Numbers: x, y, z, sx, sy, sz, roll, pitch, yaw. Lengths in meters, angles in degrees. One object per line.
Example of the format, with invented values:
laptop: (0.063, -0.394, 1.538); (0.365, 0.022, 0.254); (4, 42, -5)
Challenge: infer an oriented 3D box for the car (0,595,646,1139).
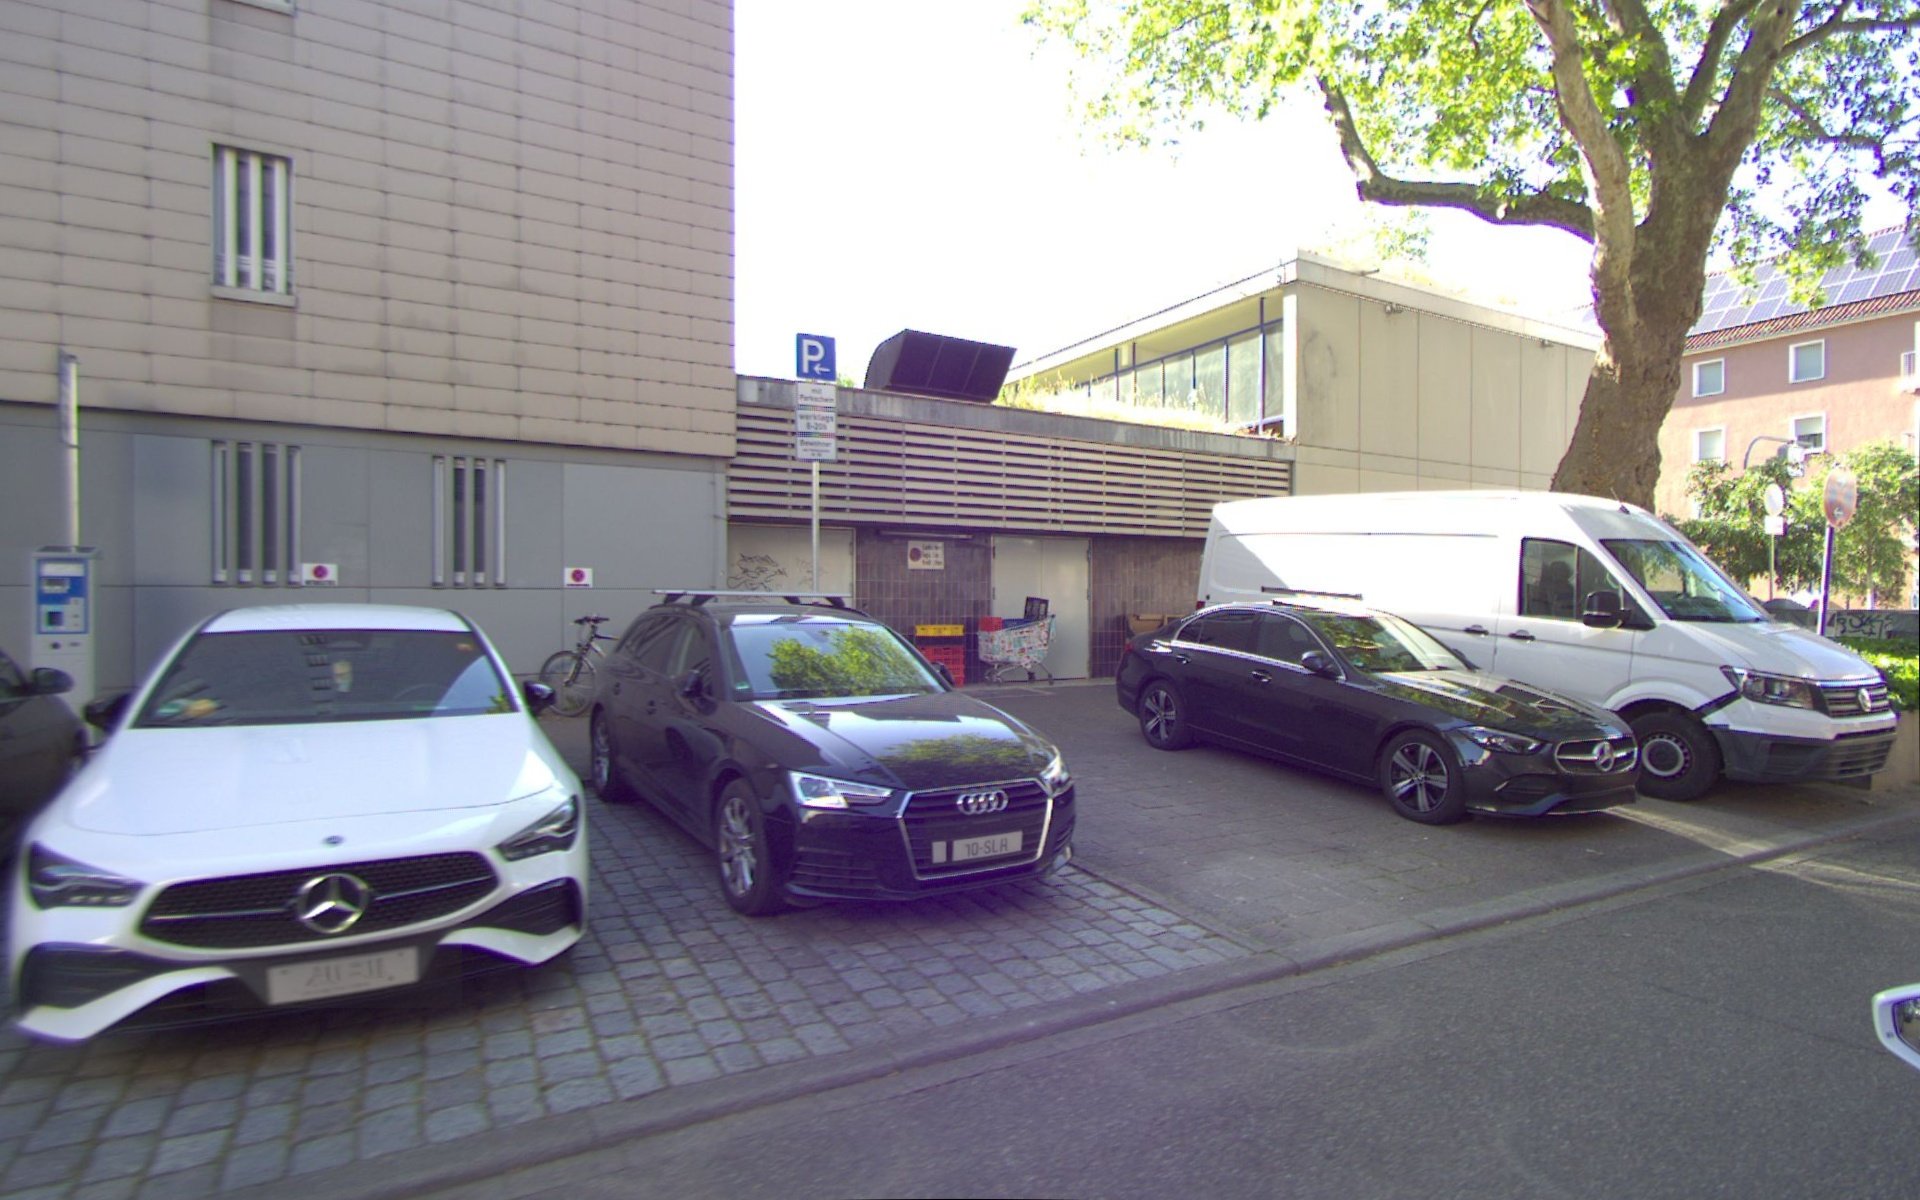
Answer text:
car: (-3.080, 0.751, 5.046); (1.935, 1.444, 4.320); (1, 0, -30)

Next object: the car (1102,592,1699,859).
car: (3.351, 0.778, 8.681); (1.905, 1.490, 4.480); (1, 2, -28)

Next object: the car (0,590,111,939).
car: (-4.995, 0.704, 3.989); (1.806, 1.525, 3.856); (1, 0, -30)

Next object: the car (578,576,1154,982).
car: (-1.001, 0.698, 6.452); (1.895, 1.631, 4.441); (1, 1, -32)

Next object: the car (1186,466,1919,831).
car: (5.467, 0.225, 10.578); (2.119, 2.589, 6.711); (1, 2, -28)

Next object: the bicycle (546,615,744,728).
bicycle: (-3.471, 0.752, 11.129); (2.014, 1.139, 0.606); (0, 1, -31)
